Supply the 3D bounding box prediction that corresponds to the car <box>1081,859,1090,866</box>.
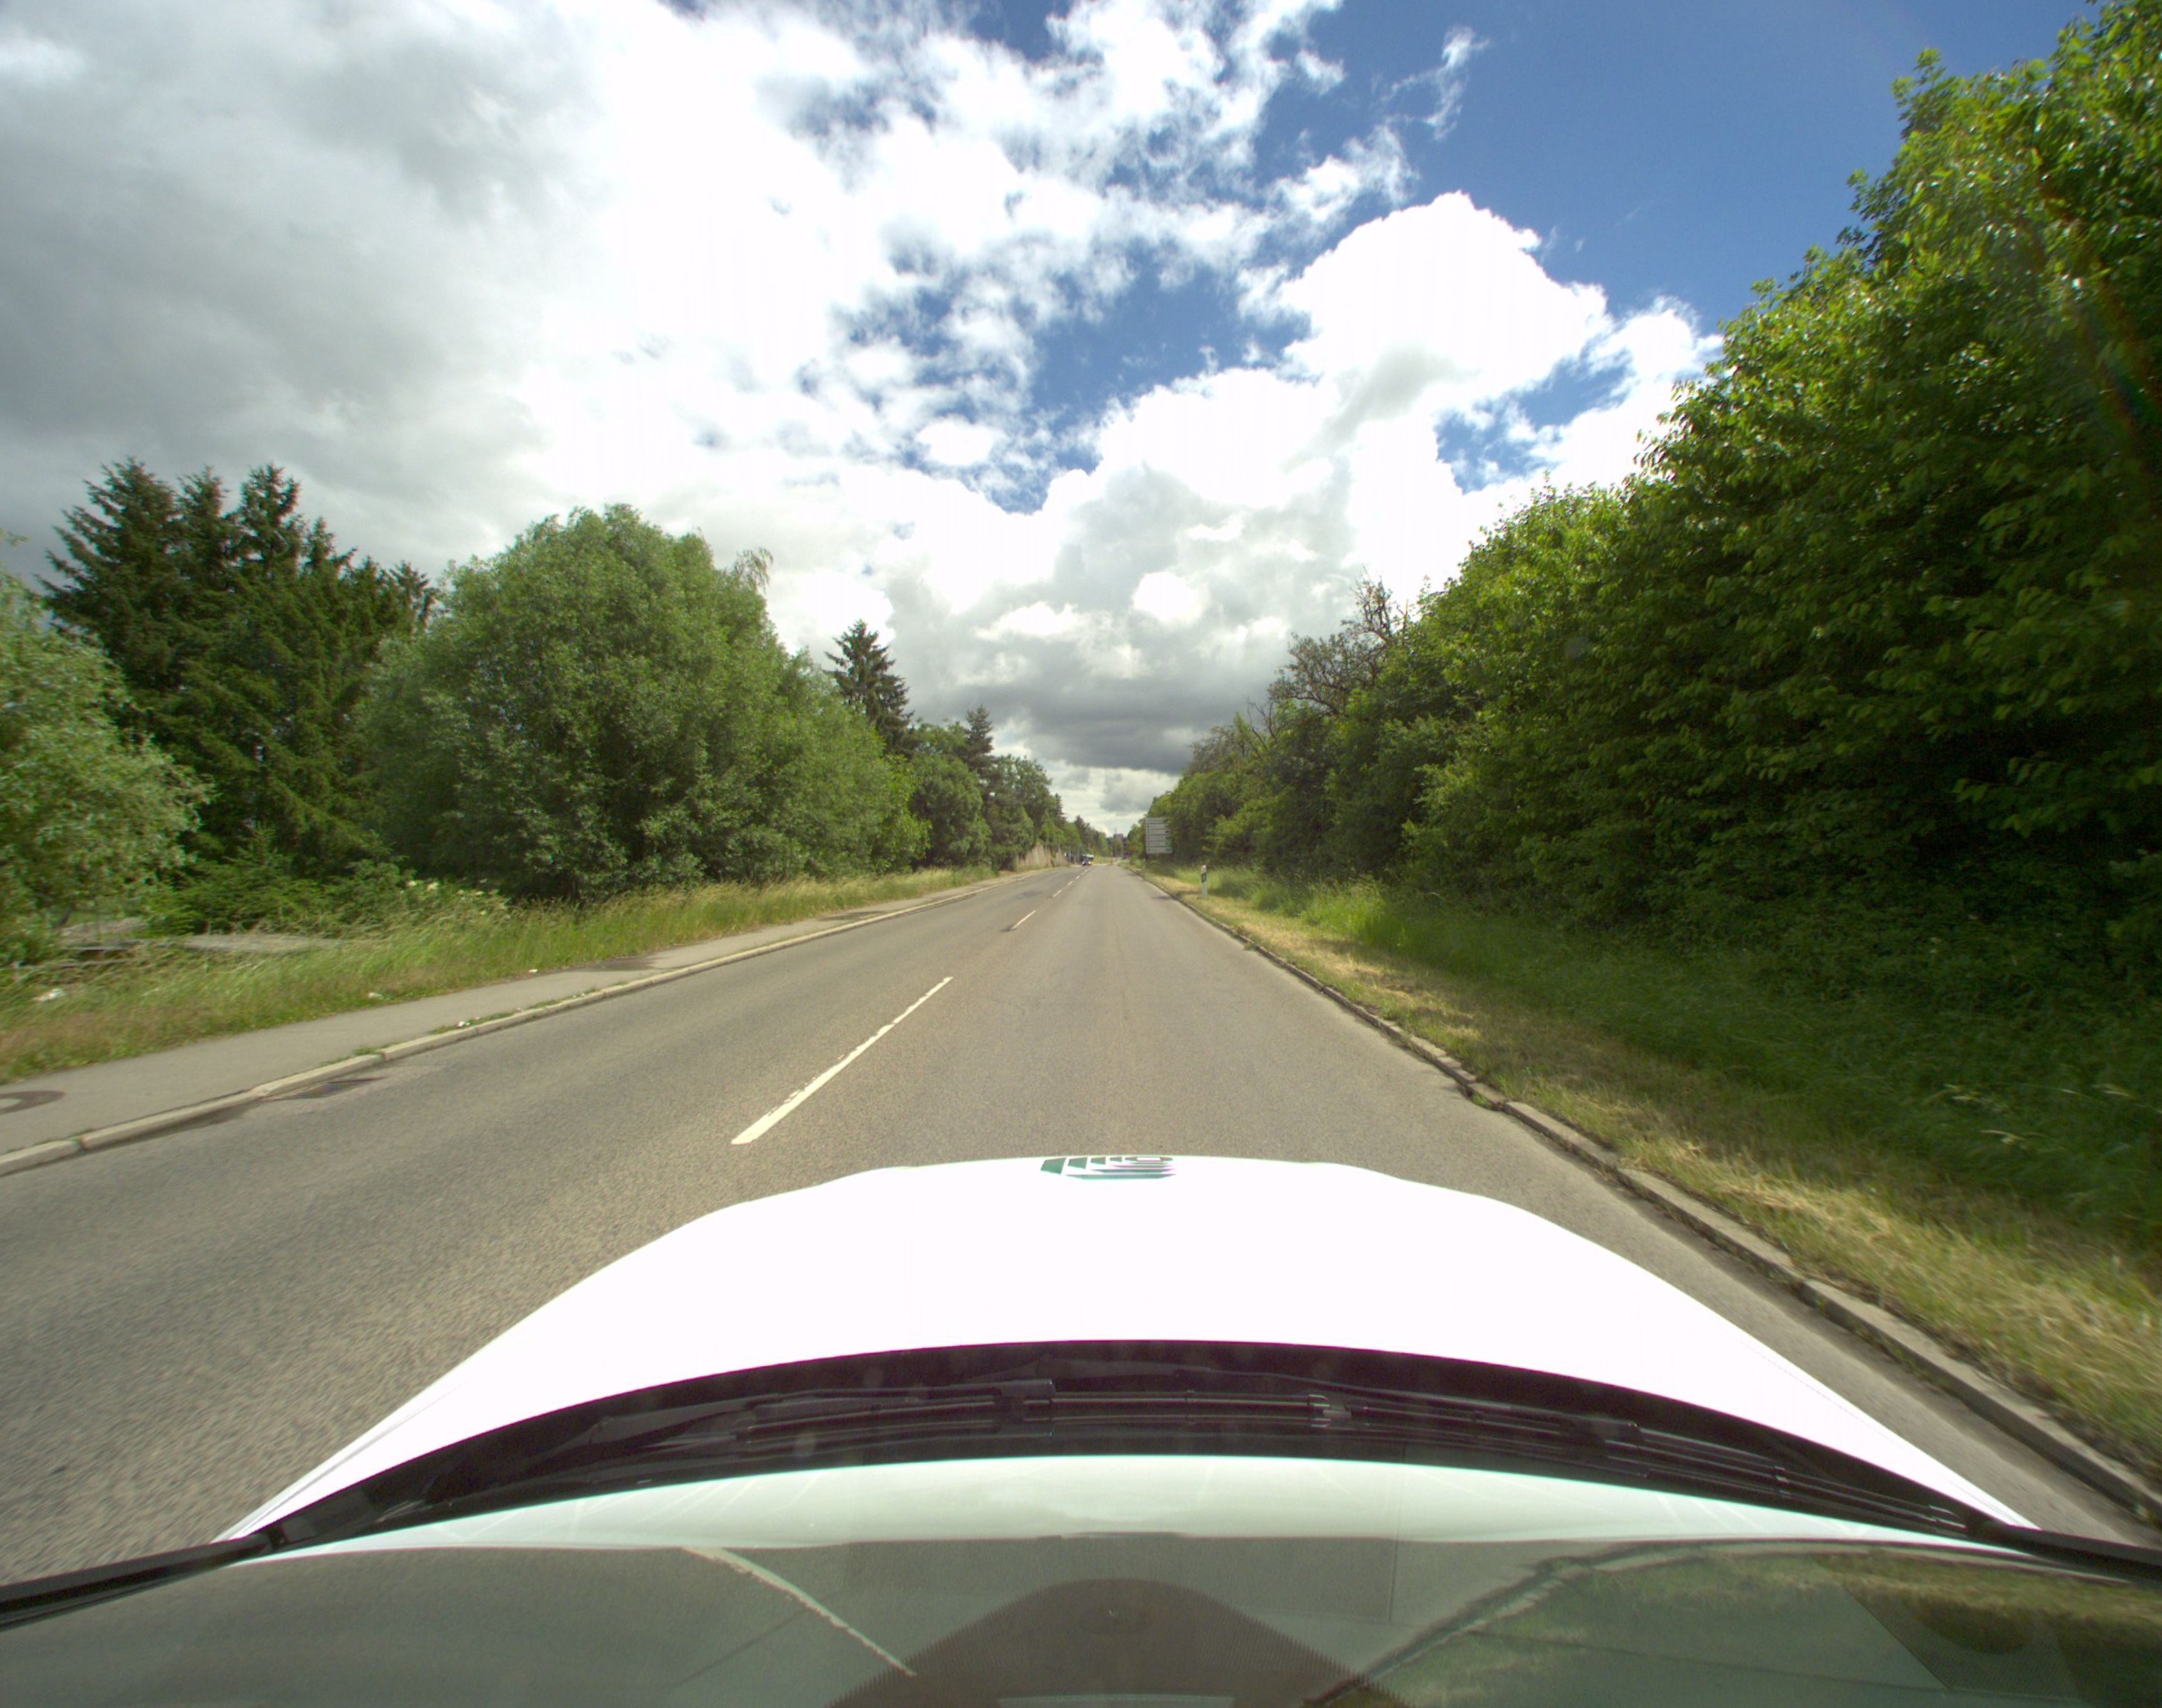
[{"bbox_3d":[0.996,1.842,175.670,1.745,1.464,4.001,-2,0,1],"label":"car"}]
